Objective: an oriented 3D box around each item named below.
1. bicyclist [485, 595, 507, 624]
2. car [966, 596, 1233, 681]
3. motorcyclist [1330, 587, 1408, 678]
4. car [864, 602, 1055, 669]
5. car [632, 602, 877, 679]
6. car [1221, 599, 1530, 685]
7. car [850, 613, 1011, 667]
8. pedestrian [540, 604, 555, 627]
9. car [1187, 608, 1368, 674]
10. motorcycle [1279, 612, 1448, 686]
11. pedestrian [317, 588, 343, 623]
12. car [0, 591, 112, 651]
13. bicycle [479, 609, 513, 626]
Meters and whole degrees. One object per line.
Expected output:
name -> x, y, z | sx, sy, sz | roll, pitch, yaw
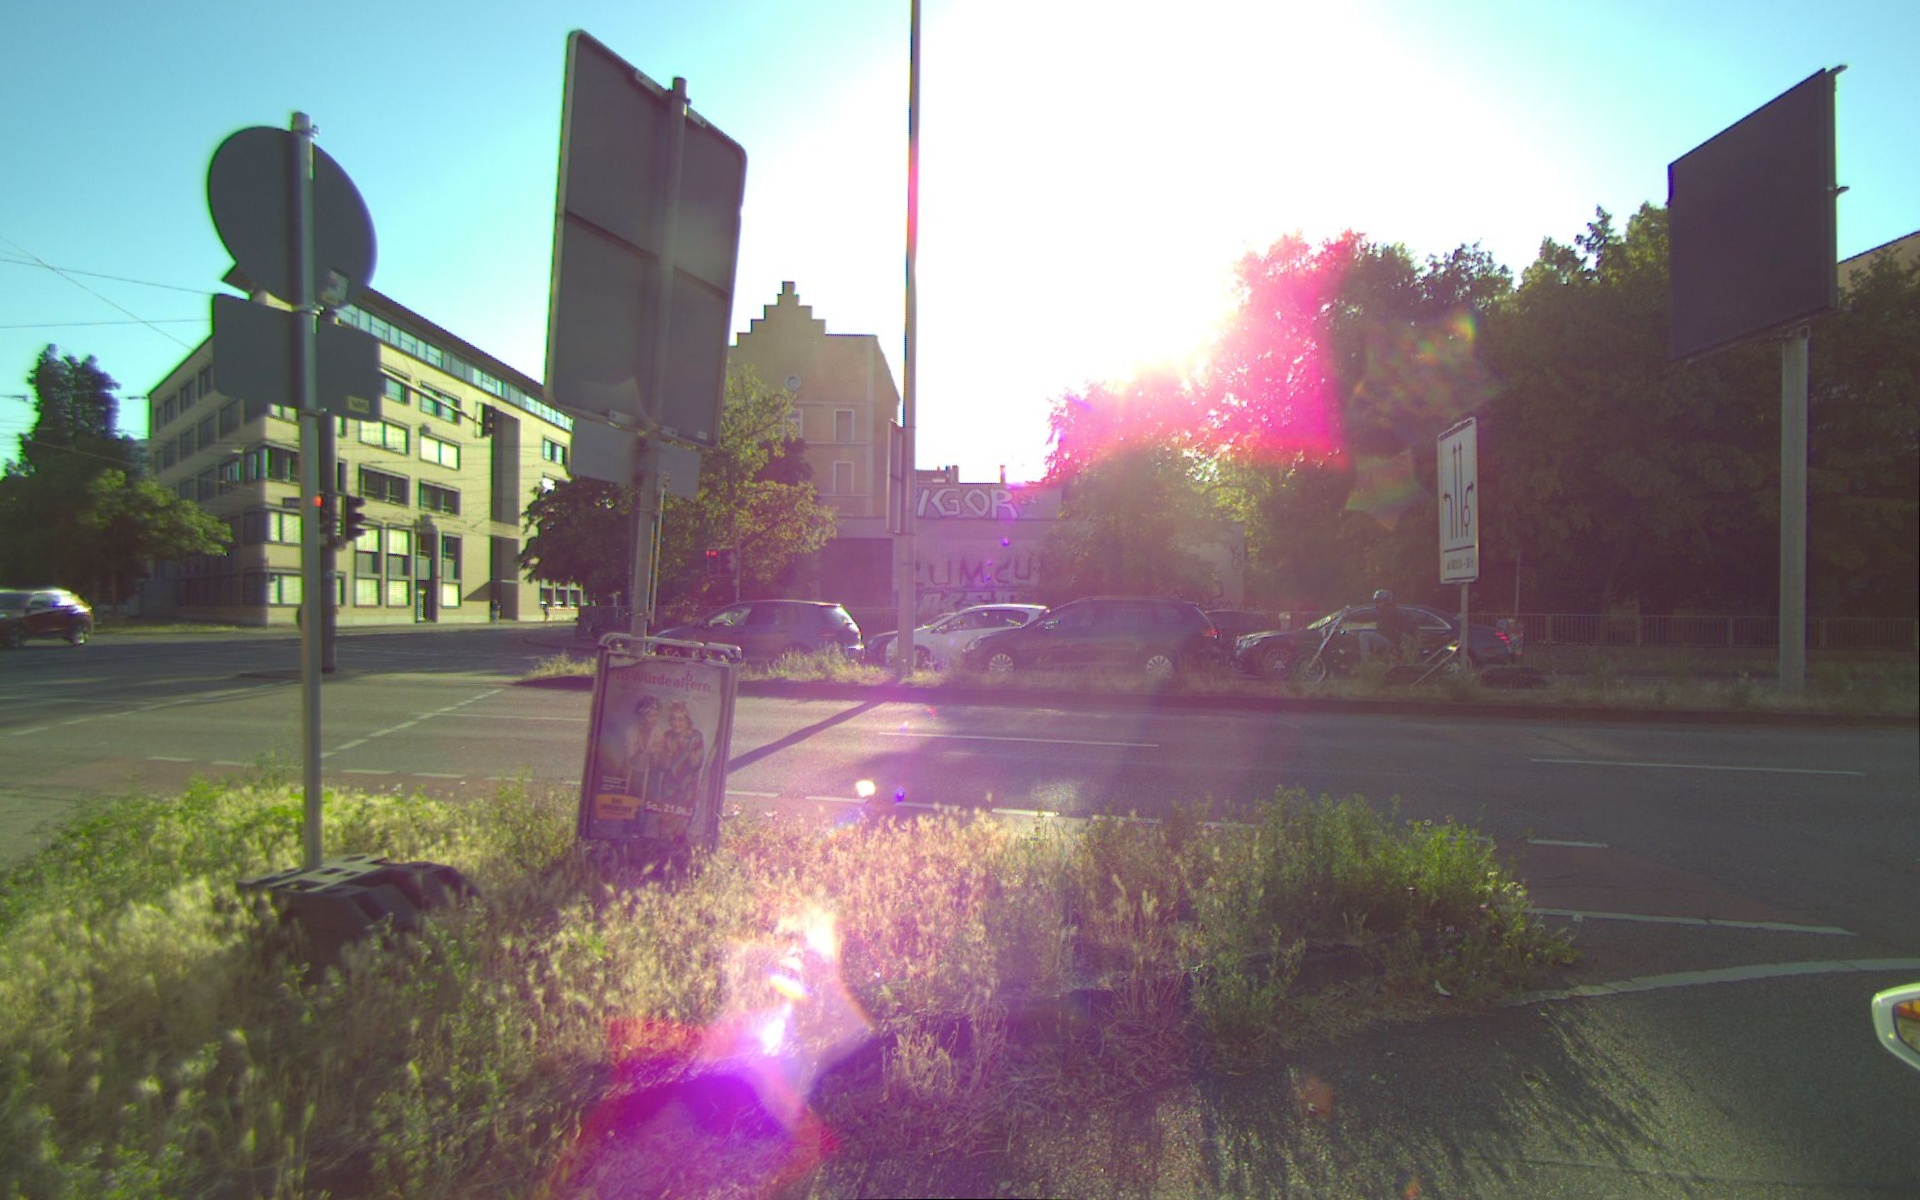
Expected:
bicyclist -> -33.292, 0.704, 72.063 | 0.975, 2.040, 1.251 | 1, 0, 3
car -> 2.385, 0.616, 17.000 | 4.288, 1.313, 1.725 | 0, -1, 14
motorcyclist -> 6.534, 0.505, 16.084 | 1.040, 1.416, 0.855 | 0, 0, 14
car -> 0.035, 0.735, 21.573 | 3.815, 1.337, 1.725 | 0, -1, 12
car -> -3.811, 0.720, 18.793 | 4.163, 1.313, 1.725 | 0, -1, 16
car -> 7.827, 0.770, 19.421 | 5.184, 1.515, 2.001 | 0, -1, 8
car -> -0.714, 0.993, 25.768 | 3.815, 1.313, 1.725 | 0, -1, 12
pedestrian -> -33.954, 1.294, 82.601 | 0.814, 1.844, 0.983 | 0, 0, 0
car -> 7.590, 0.960, 24.344 | 3.919, 1.483, 1.861 | 0, 0, 7
motorcycle -> 6.409, 0.755, 16.108 | 2.420, 1.122, 0.862 | 0, -1, 14
pedestrian -> -37.354, 0.342, 59.579 | 0.912, 2.040, 0.989 | 1, 0, 0
car -> -27.351, 0.601, 29.262 | 1.787, 1.636, 4.461 | 0, -1, -6
bicycle -> -33.300, 1.266, 72.107 | 0.992, 1.150, 2.828 | 1, -1, 3
